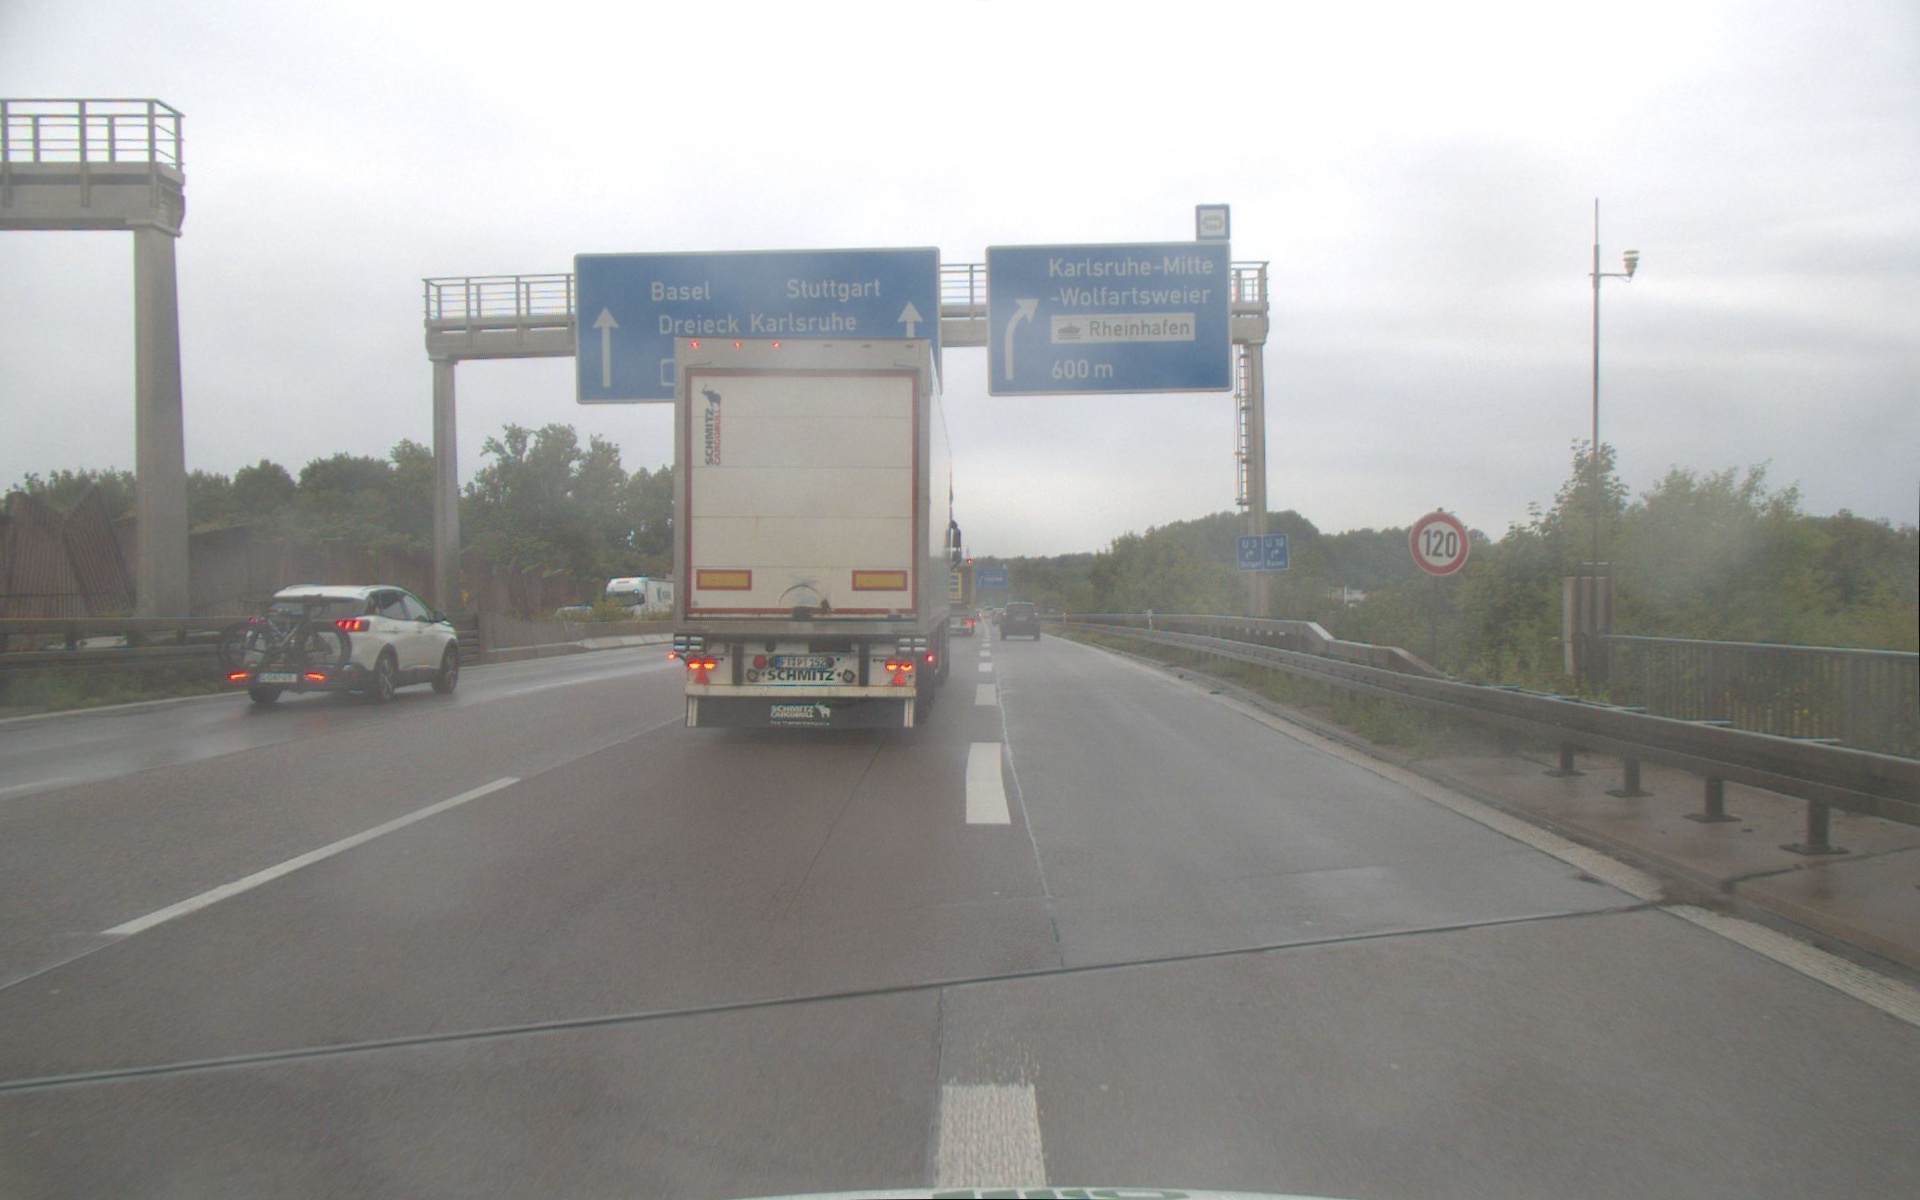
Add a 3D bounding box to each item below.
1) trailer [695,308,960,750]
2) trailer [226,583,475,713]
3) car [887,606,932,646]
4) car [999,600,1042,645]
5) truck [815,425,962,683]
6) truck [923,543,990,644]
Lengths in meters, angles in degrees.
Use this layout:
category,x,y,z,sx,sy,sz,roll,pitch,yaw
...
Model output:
category,x,y,z,sx,sy,sz,roll,pitch,yaw
trailer,-1.277,-0.744,23.412,2.294,4.230,14.828,1,0,1
trailer,-8.480,0.620,23.477,1.777,1.653,4.568,0,0,1
car,-2.297,1.160,75.708,1.855,1.754,4.000,1,0,1
car,2.745,1.010,75.309,1.858,1.983,4.001,1,0,2
truck,-1.185,-0.790,30.627,2.294,4.230,6.347,1,0,1
truck,-0.117,-0.311,93.211,3.461,5.274,9.893,1,0,1
